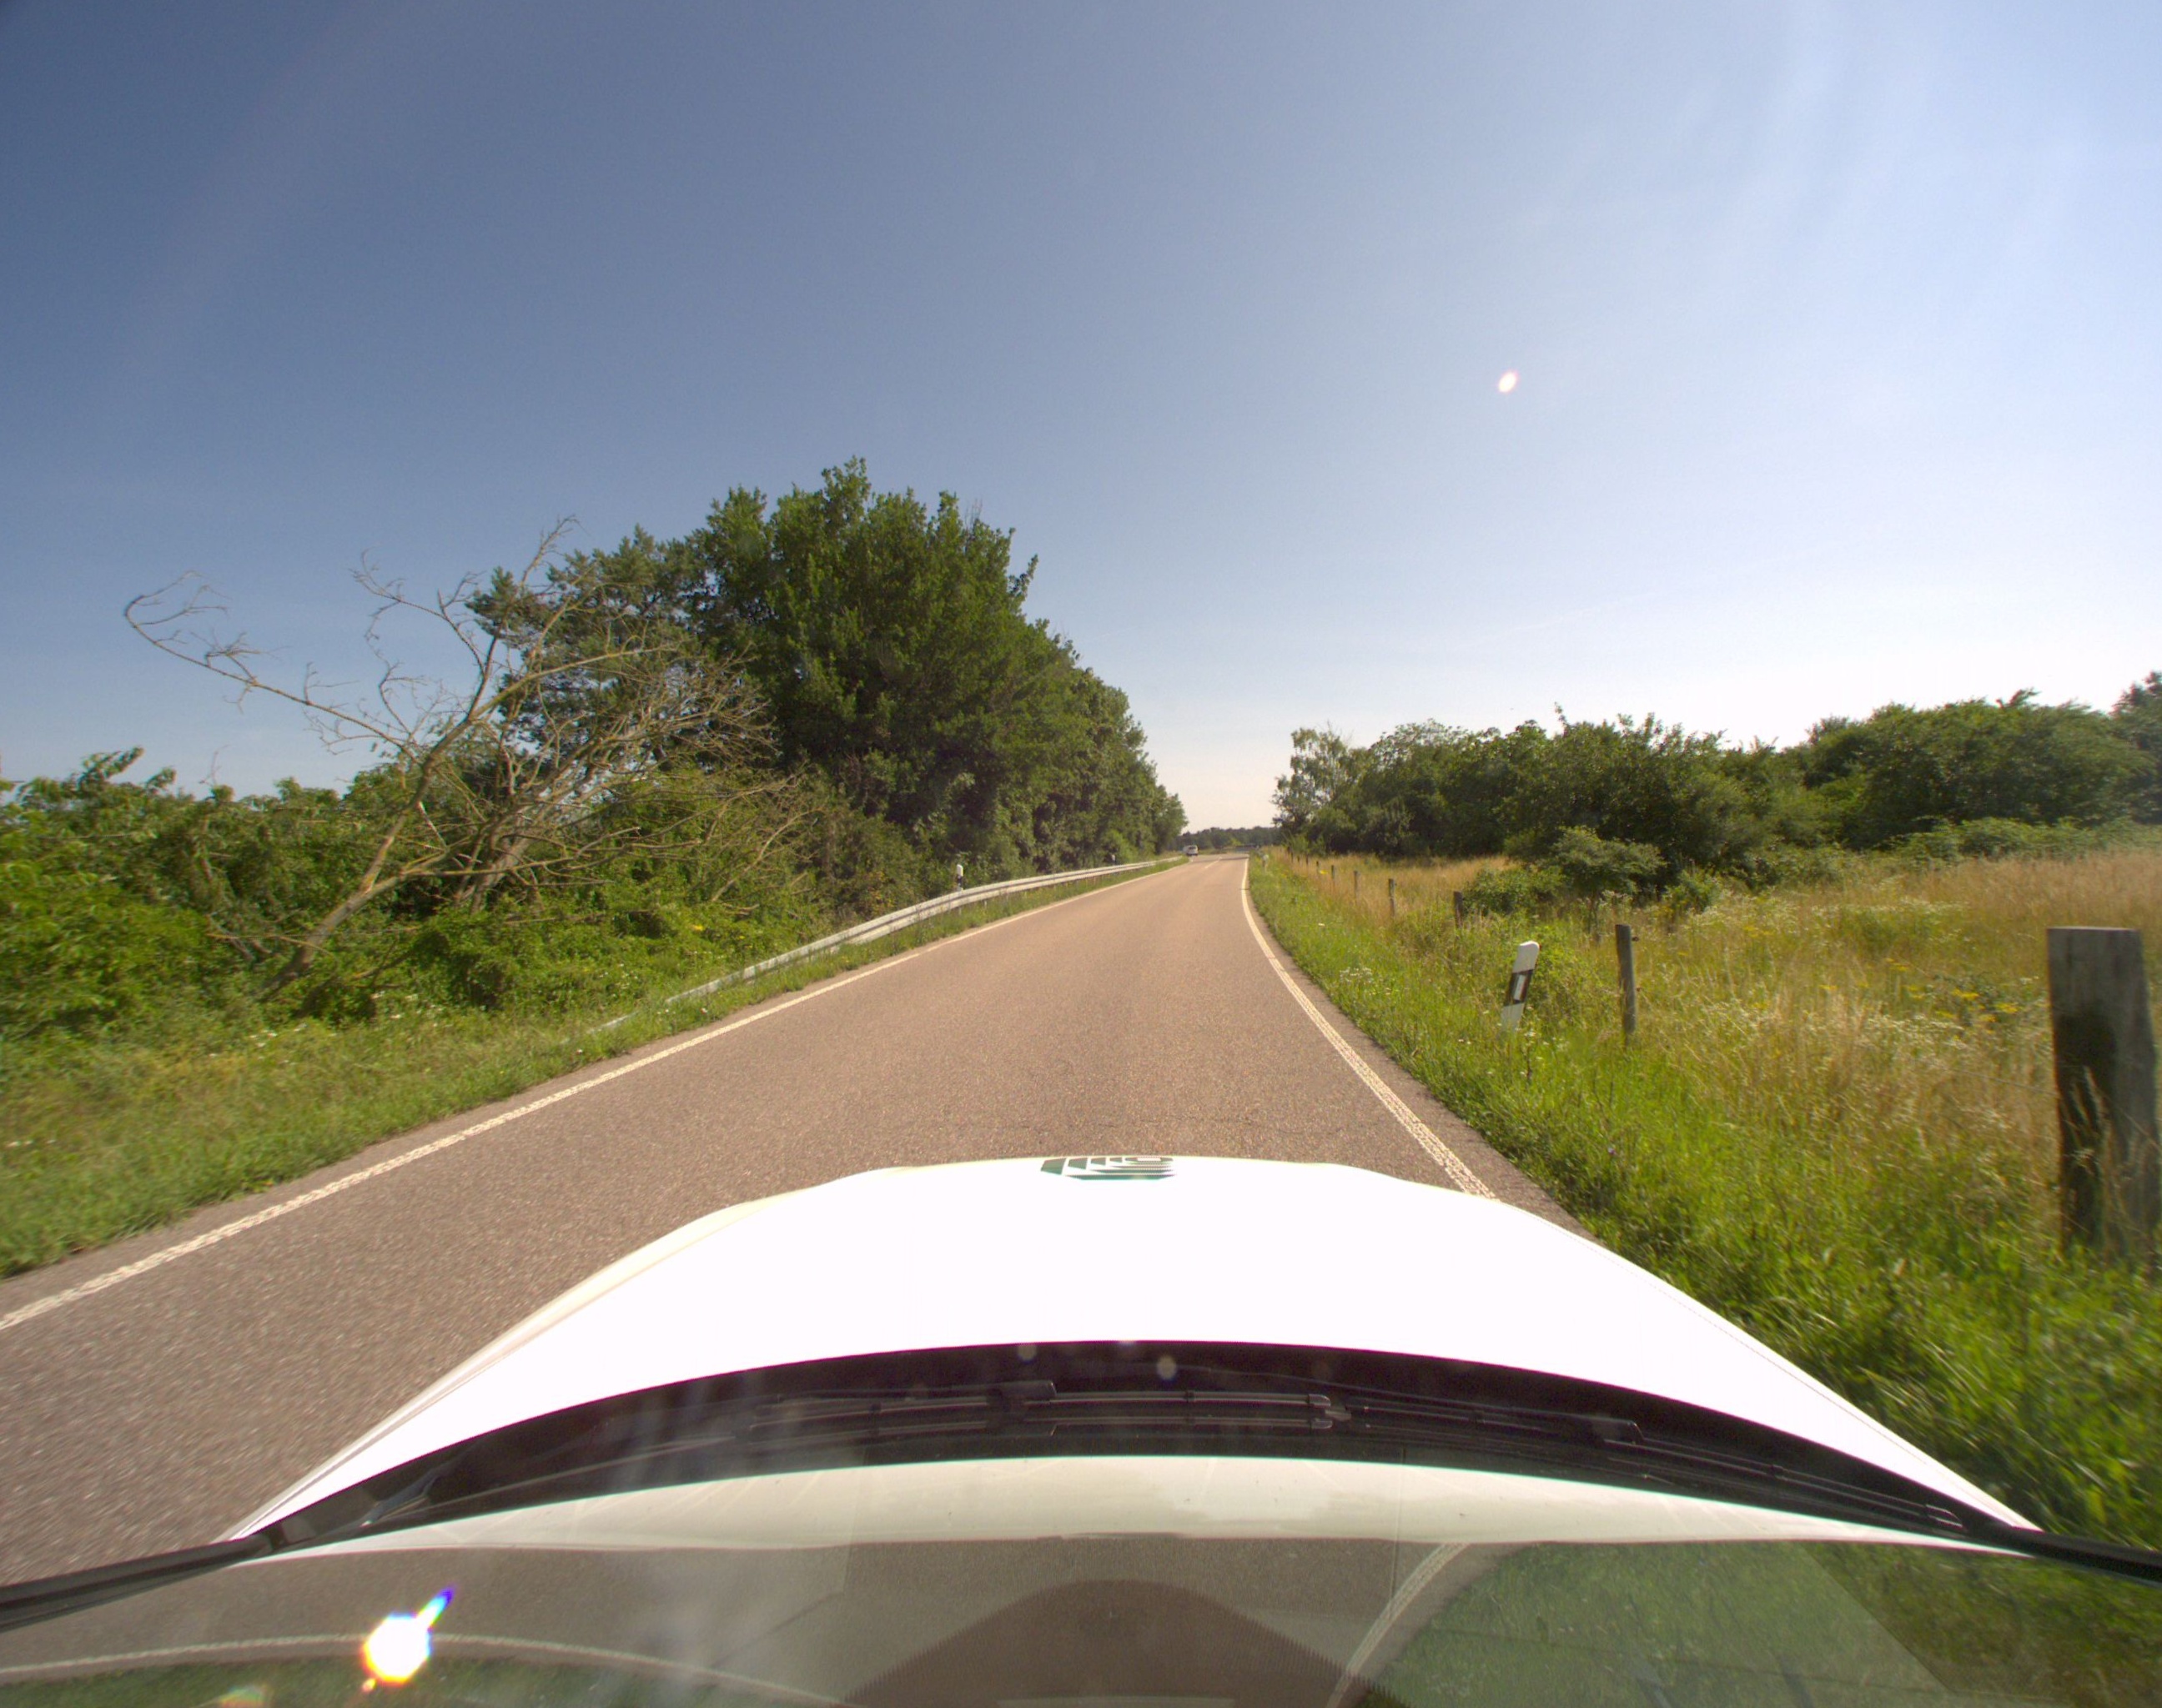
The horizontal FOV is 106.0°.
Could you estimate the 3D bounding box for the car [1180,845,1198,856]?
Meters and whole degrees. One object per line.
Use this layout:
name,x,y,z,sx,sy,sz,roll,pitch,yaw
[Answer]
car,19.225,-0.637,145.025,1.962,1.802,4.146,-1,-1,-10
